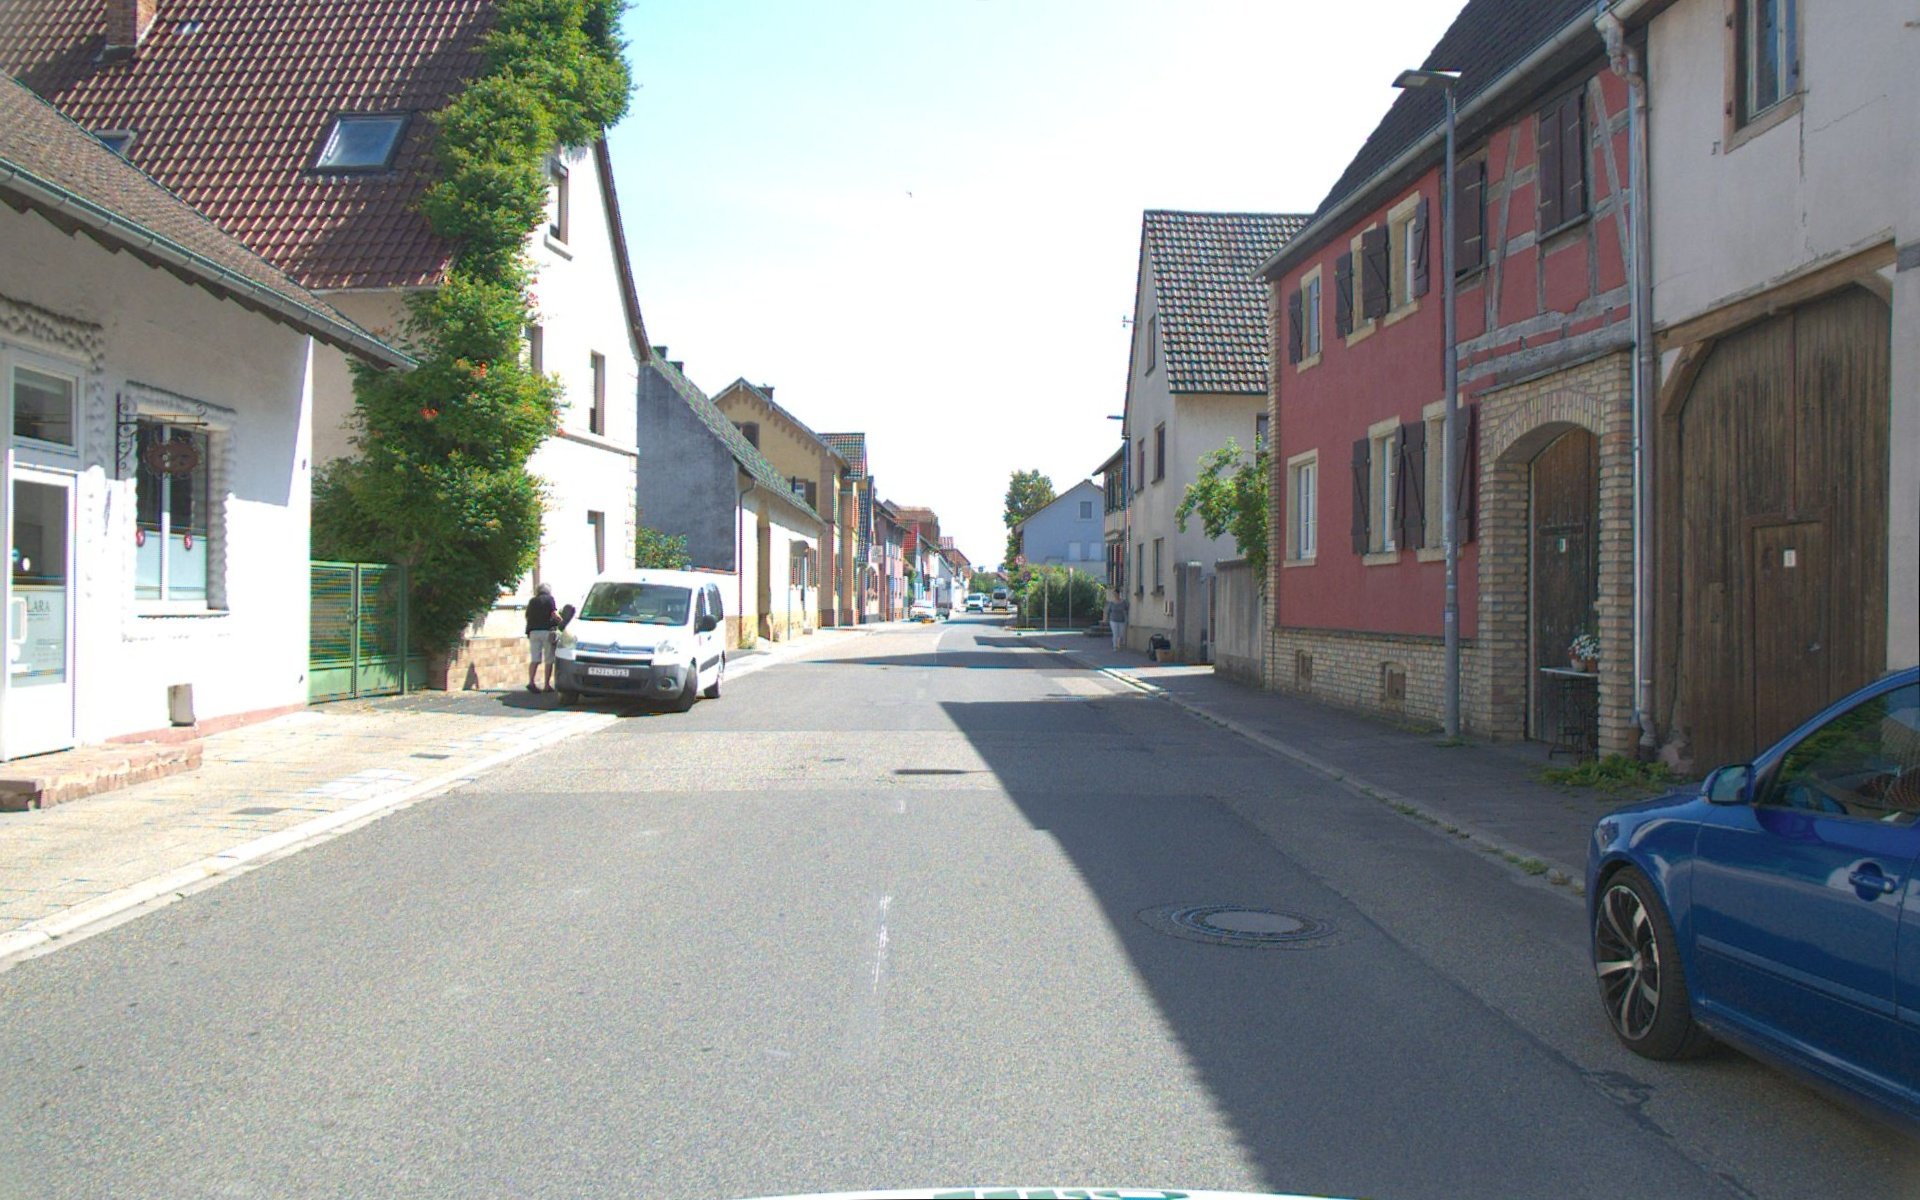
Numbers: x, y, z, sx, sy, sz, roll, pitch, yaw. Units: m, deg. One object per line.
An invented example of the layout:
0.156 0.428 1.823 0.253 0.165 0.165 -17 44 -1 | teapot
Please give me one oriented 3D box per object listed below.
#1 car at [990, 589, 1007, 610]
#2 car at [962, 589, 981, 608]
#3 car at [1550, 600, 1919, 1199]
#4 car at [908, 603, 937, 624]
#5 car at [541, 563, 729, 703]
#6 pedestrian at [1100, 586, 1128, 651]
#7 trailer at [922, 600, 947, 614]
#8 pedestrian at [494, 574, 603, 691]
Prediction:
4.798 -0.060 206.738 1.976 2.612 3.999 0 0 -1 | car
1.350 -0.175 190.017 2.114 2.116 3.999 0 -2 -1 | car
3.236 0.756 4.224 1.665 1.495 4.407 -1 0 -3 | car
-2.628 0.919 116.785 1.953 1.467 4.000 0 0 0 | car
-4.279 0.393 22.404 1.818 1.676 4.428 1 0 -2 | car
4.067 0.491 43.740 0.704 1.693 0.893 1 0 3 | pedestrian
-2.090 0.576 133.883 1.953 1.109 3.999 0 0 -1 | trailer
-5.756 0.443 23.173 0.992 1.579 1.140 1 0 18 | pedestrian
